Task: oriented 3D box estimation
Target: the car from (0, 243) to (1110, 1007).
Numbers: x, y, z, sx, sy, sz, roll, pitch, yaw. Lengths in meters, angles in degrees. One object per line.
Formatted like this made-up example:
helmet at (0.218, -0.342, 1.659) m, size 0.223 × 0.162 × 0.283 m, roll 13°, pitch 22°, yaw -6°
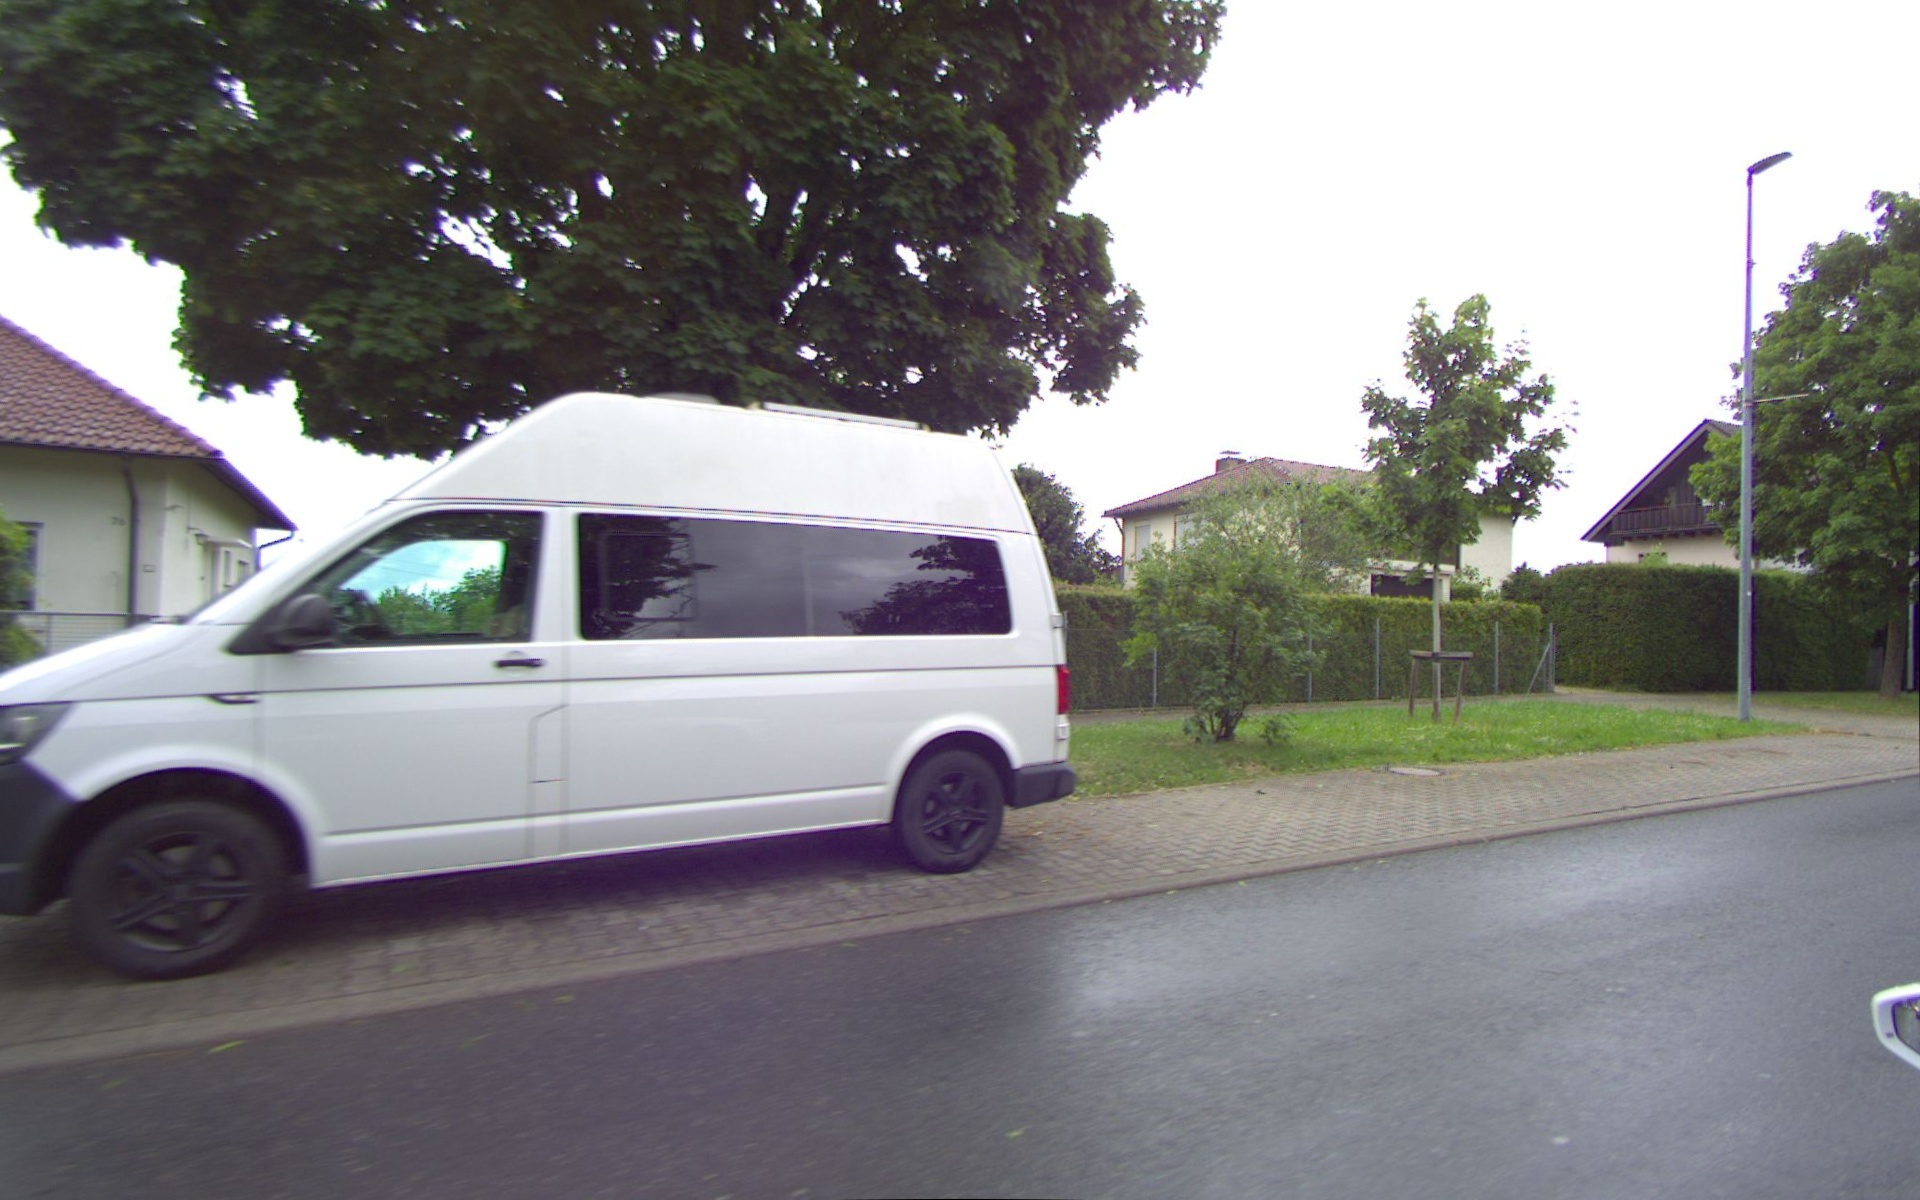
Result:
car at (-1.837, 0.154, 5.441) m, size 5.173 × 2.595 × 1.984 m, roll 2°, pitch -1°, yaw -31°
